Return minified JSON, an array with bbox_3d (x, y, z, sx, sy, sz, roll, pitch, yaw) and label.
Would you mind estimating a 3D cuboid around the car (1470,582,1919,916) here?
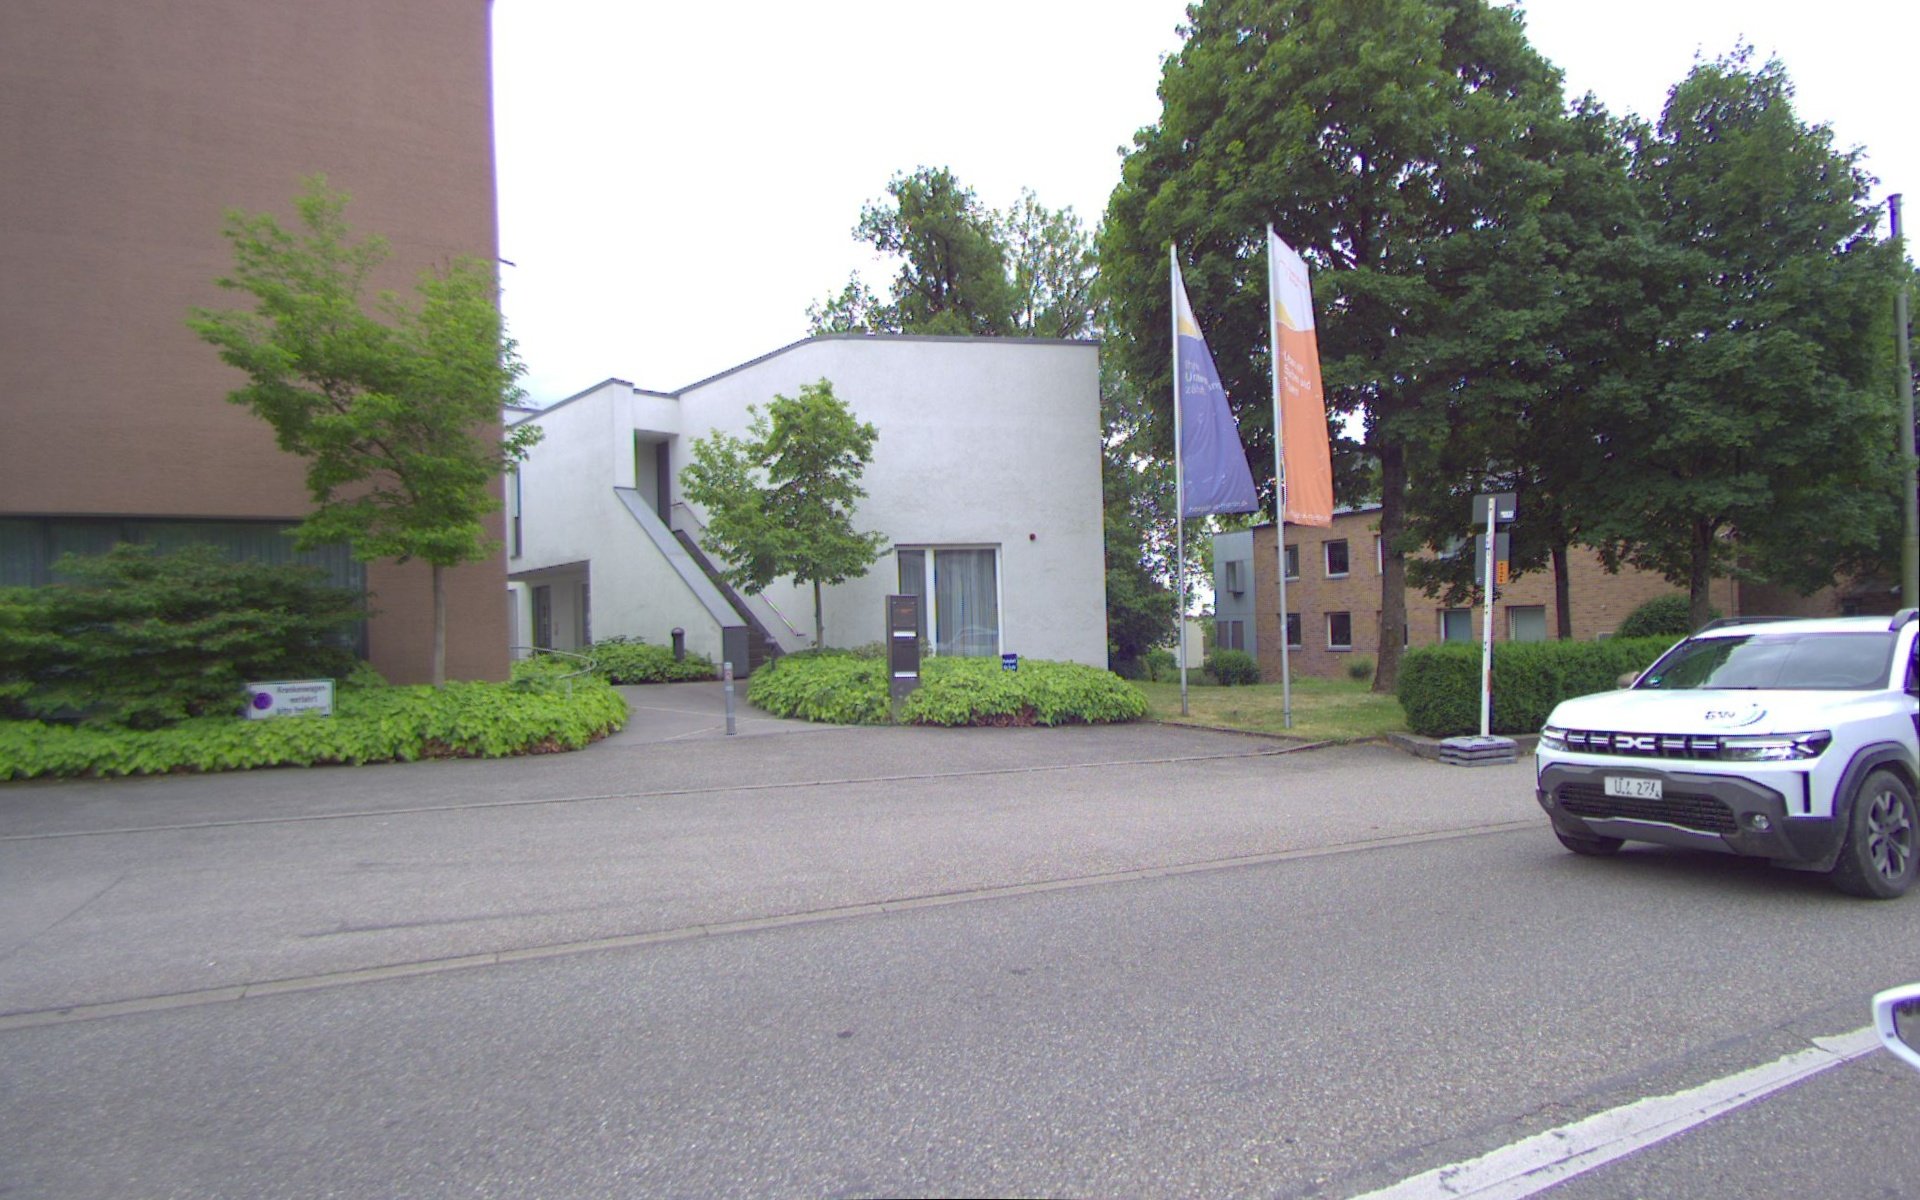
[{"bbox_3d":[5.681,0.842,6.776,4.245,1.658,1.764,1,-5,-27],"label":"car"}]
